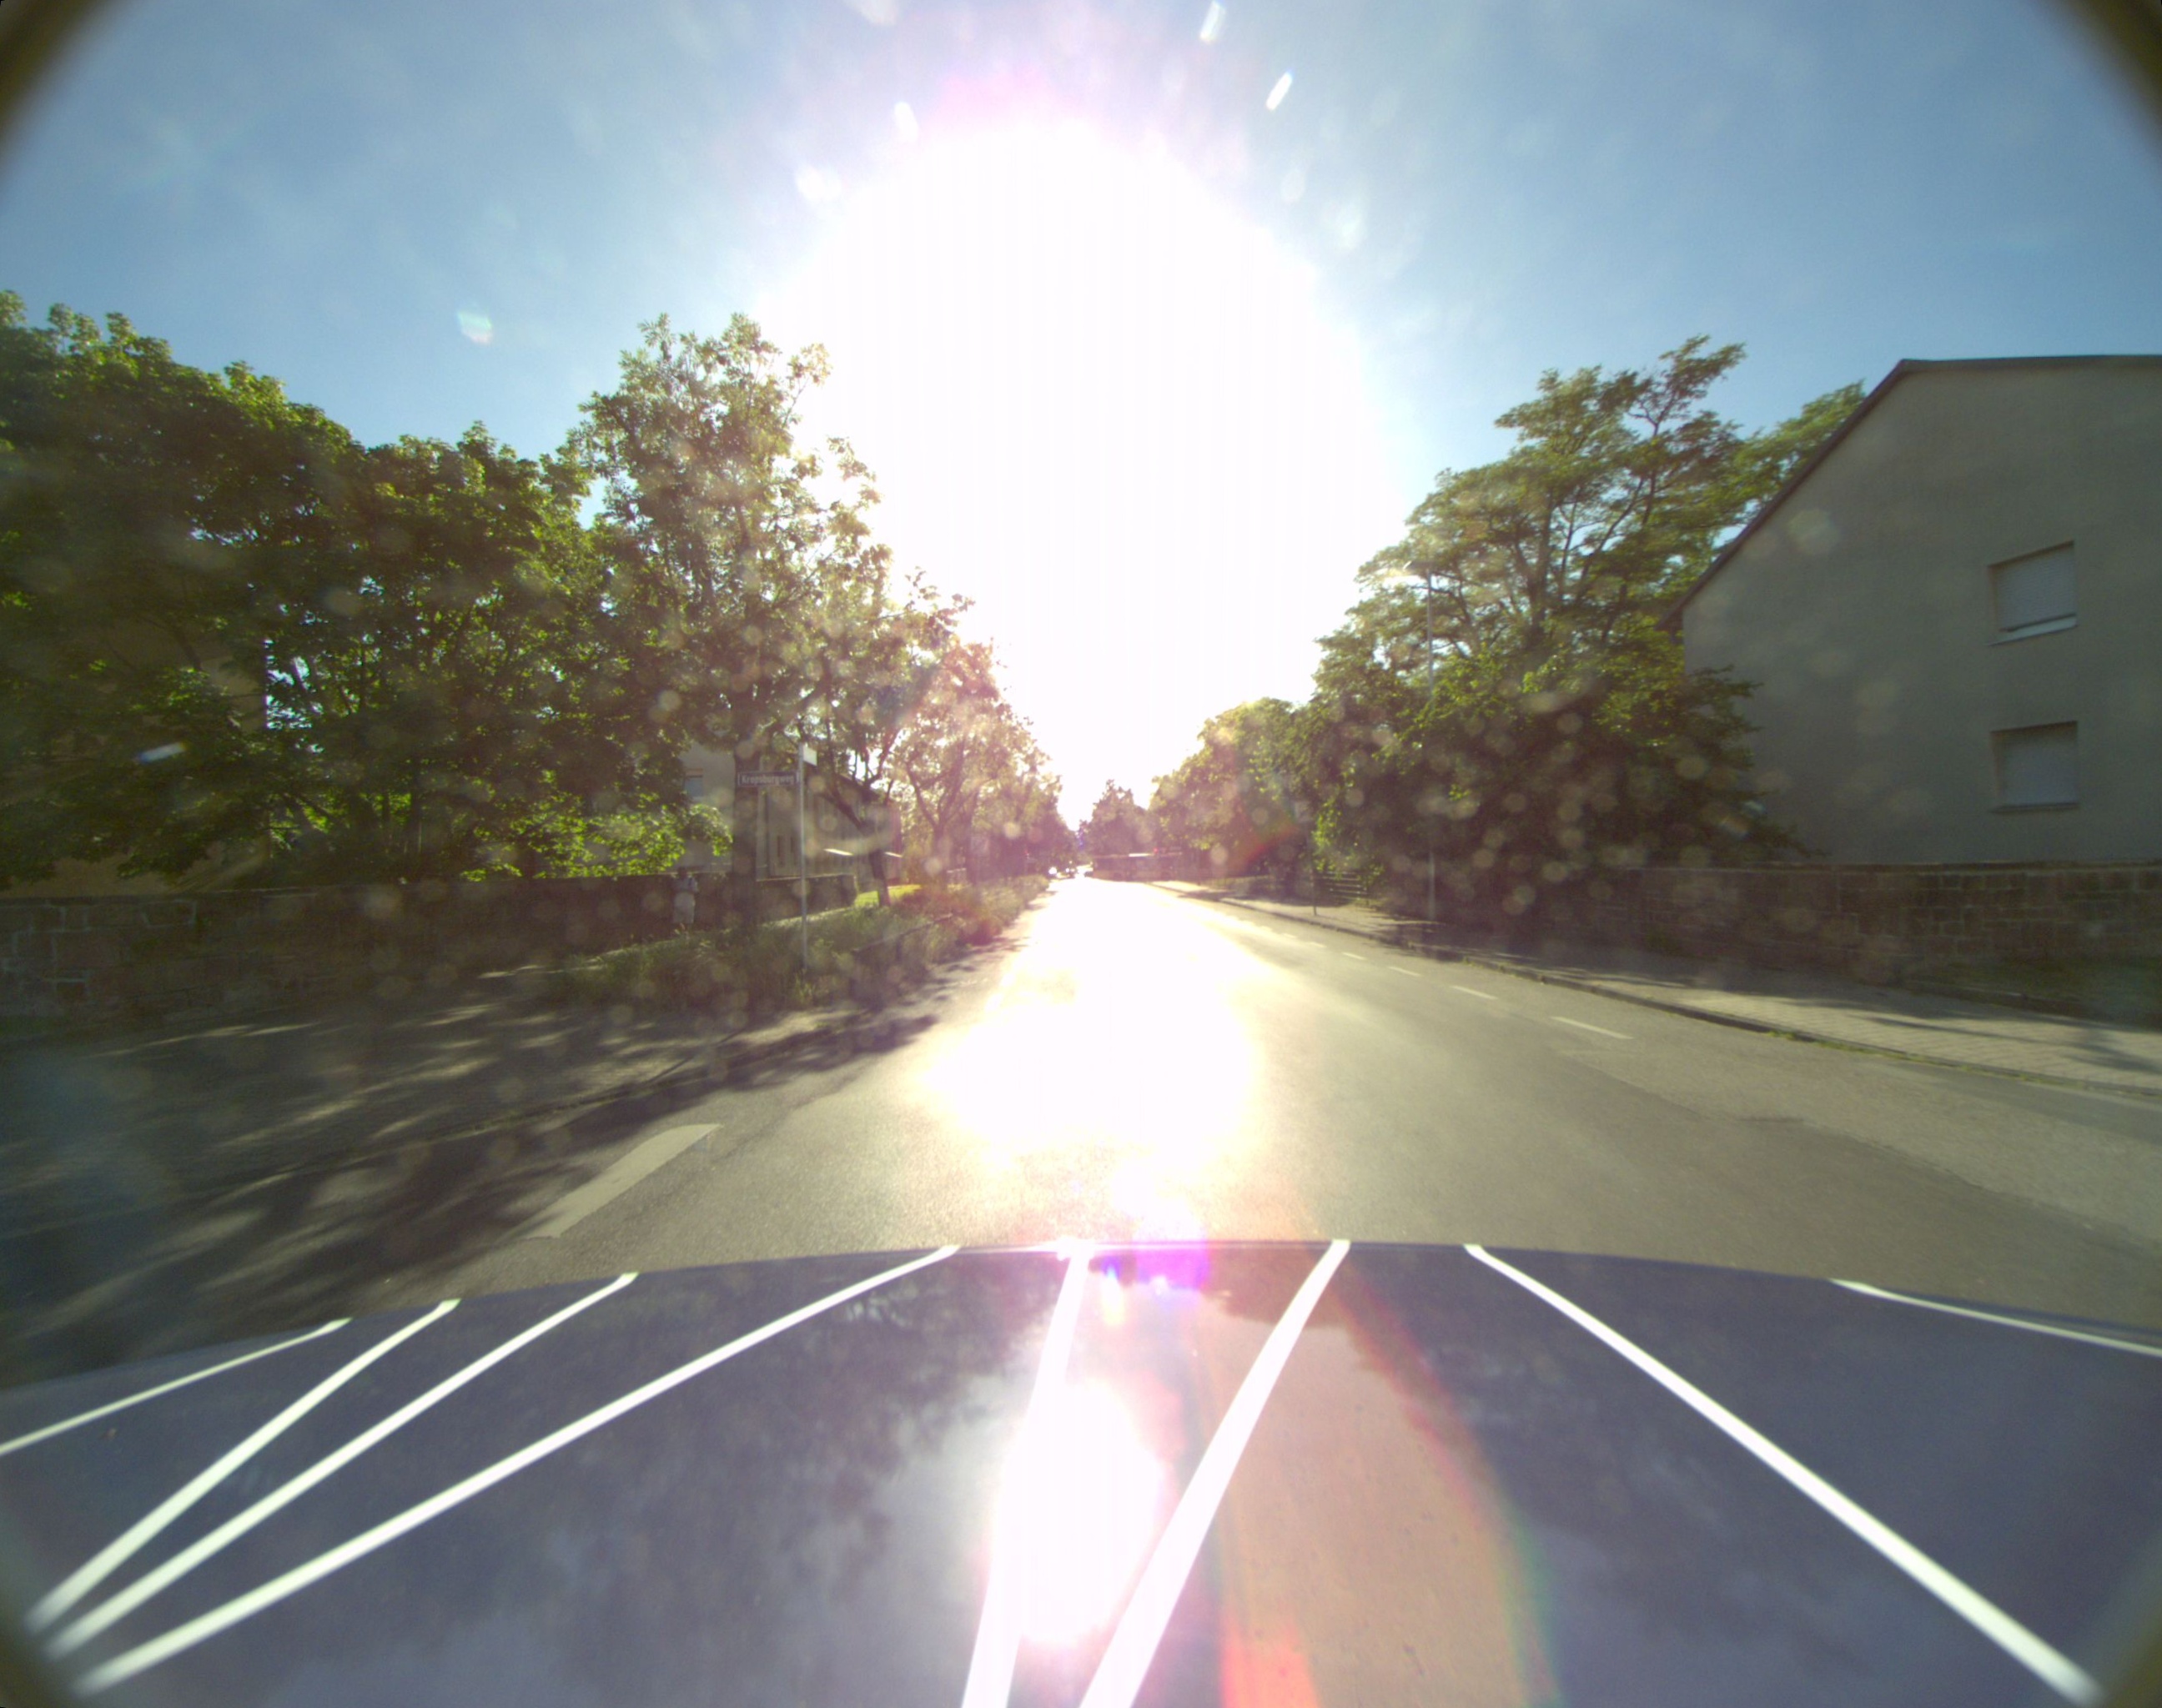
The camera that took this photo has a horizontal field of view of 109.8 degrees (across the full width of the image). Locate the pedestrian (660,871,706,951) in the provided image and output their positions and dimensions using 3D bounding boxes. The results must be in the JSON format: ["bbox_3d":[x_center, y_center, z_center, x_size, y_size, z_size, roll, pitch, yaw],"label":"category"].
[{"bbox_3d":[-8.664,1.221,16.557,0.638,1.695,0.612,1,-1,-1],"label":"pedestrian"}]

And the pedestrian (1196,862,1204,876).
[{"bbox_3d":[13.941,1.806,89.220,0.800,1.623,0.647,-3,-1,0],"label":"pedestrian"}]

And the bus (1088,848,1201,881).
[{"bbox_3d":[6.880,1.211,84.385,12.447,3.079,3.137,-4,-2,36],"label":"bus"}]
